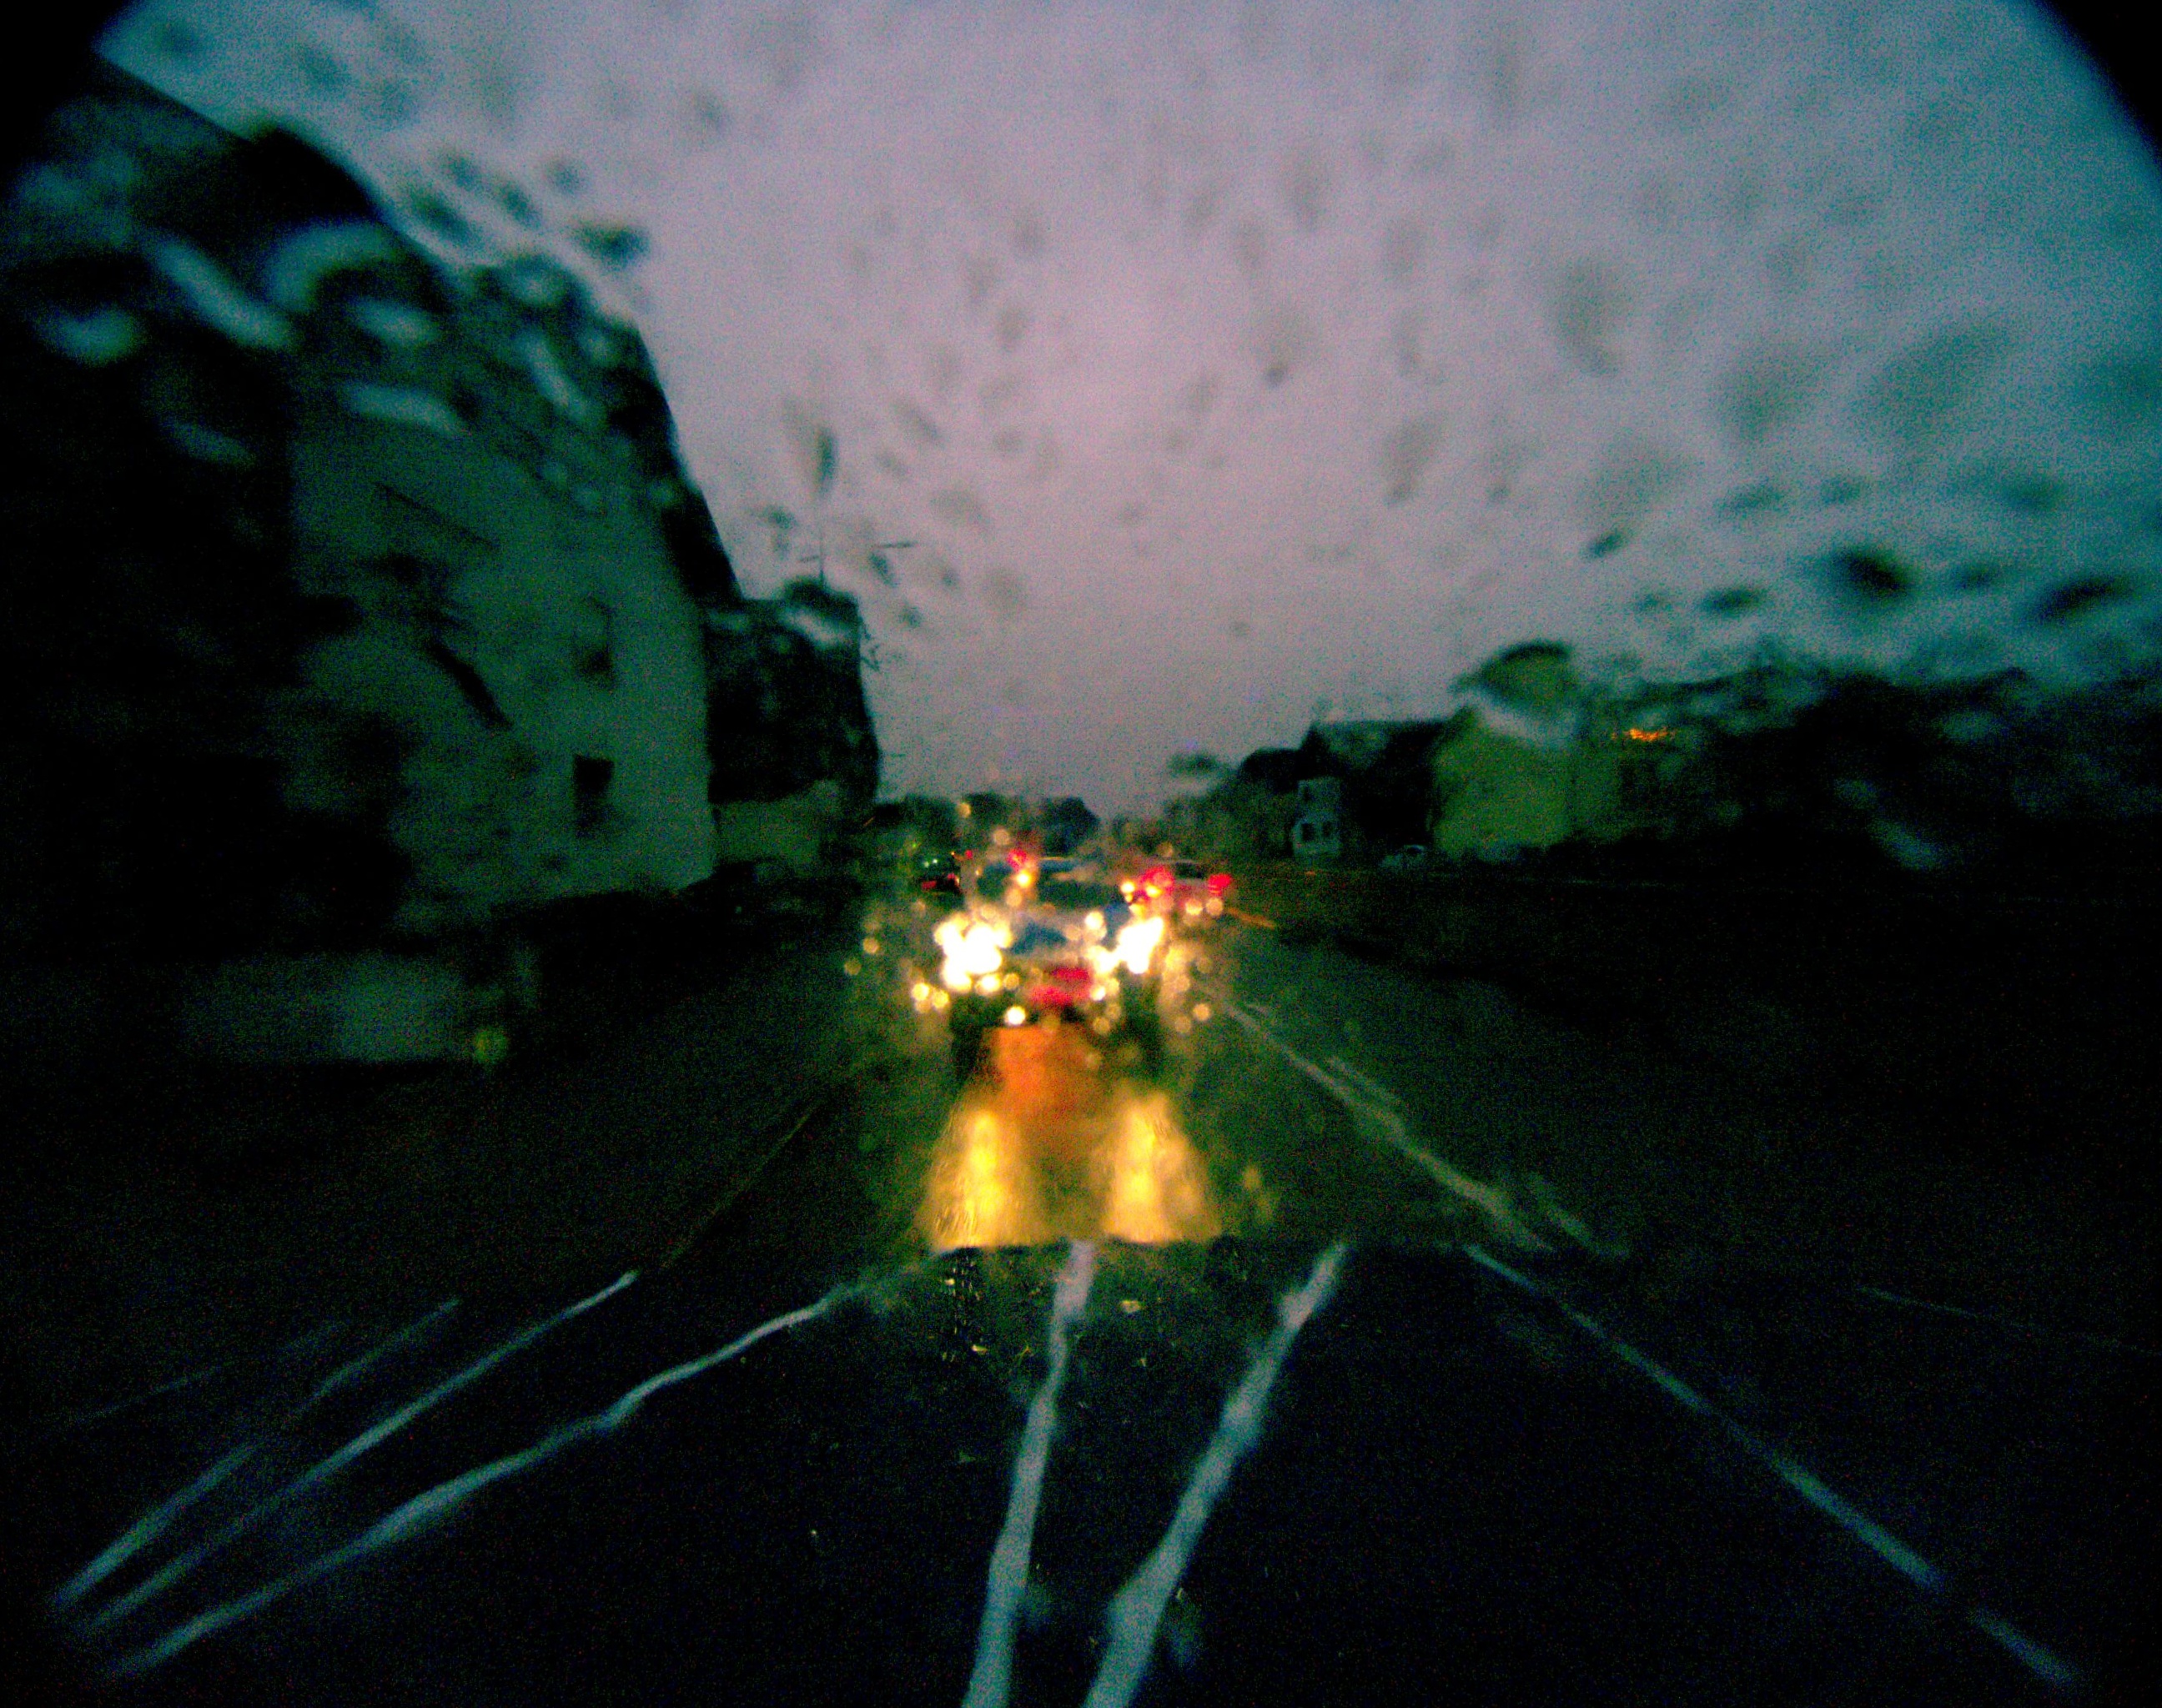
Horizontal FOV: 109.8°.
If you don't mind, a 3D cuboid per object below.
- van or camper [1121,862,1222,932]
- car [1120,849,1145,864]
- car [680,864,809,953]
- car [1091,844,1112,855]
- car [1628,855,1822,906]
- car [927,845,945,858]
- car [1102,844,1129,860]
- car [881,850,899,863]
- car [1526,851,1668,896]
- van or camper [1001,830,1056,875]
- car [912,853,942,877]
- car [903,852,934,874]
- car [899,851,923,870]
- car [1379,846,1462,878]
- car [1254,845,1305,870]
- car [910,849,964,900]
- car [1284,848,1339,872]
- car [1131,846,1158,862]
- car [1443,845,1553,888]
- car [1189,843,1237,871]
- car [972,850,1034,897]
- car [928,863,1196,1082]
[{"bbox_3d":[1.910,0.869,16.950,1.567,1.347,3.420,0,0,-5],"label":"van or camper"},{"bbox_3d":[6.159,0.261,91.474,1.903,1.509,3.994,-4,2,-12],"label":"car"},{"bbox_3d":[-6.283,0.935,14.581,1.772,1.385,3.908,1,0,-17],"label":"car"},{"bbox_3d":[2.760,-0.664,103.981,1.682,1.406,3.827,-4,3,-17],"label":"car"},{"bbox_3d":[19.844,0.771,23.731,1.880,1.425,4.498,1,0,-8],"label":"car"},{"bbox_3d":[-19.231,-0.291,100.547,1.669,1.626,3.544,-2,1,-21],"label":"car"},{"bbox_3d":[4.422,-0.288,98.803,2.001,1.894,4.350,-4,2,-18],"label":"car"},{"bbox_3d":[-23.641,0.282,93.886,1.814,1.555,4.297,-1,1,-18],"label":"car"},{"bbox_3d":[19.279,0.690,28.683,1.880,1.563,4.498,1,0,-8],"label":"car"},{"bbox_3d":[-3.408,-0.081,47.879,2.249,2.653,6.546,-1,0,-14],"label":"van or camper"},{"bbox_3d":[-10.232,0.718,50.367,1.658,1.446,4.232,1,0,-15],"label":"car"},{"bbox_3d":[-13.016,0.671,60.671,1.964,1.524,5.001,-4,1,-17],"label":"car"},{"bbox_3d":[-15.080,0.538,67.207,1.671,1.567,4.489,-1,1,-17],"label":"car"},{"bbox_3d":[17.528,0.401,39.466,1.880,1.589,4.221,1,0,-10],"label":"car"},{"bbox_3d":[14.275,0.207,54.851,1.865,1.672,3.995,-4,1,-11],"label":"car"},{"bbox_3d":[-5.420,0.719,29.009,1.775,1.771,3.997,2,0,-7],"label":"car"},{"bbox_3d":[15.367,0.355,50.858,1.775,1.515,4.027,-1,1,-11],"label":"car"},{"bbox_3d":[7.226,-0.029,86.679,1.823,1.615,3.980,-4,1,-12],"label":"car"},{"bbox_3d":[18.400,0.531,33.787,1.880,1.768,4.497,1,0,-10],"label":"car"},{"bbox_3d":[9.159,0.169,53.058,1.806,1.793,3.855,-1,1,-15],"label":"car"},{"bbox_3d":[-3.228,0.770,30.633,1.908,1.630,4.562,-4,0,-12],"label":"car"},{"bbox_3d":[-0.231,0.938,7.878,1.999,1.526,3.999,-3,0,-3],"label":"car"}]
